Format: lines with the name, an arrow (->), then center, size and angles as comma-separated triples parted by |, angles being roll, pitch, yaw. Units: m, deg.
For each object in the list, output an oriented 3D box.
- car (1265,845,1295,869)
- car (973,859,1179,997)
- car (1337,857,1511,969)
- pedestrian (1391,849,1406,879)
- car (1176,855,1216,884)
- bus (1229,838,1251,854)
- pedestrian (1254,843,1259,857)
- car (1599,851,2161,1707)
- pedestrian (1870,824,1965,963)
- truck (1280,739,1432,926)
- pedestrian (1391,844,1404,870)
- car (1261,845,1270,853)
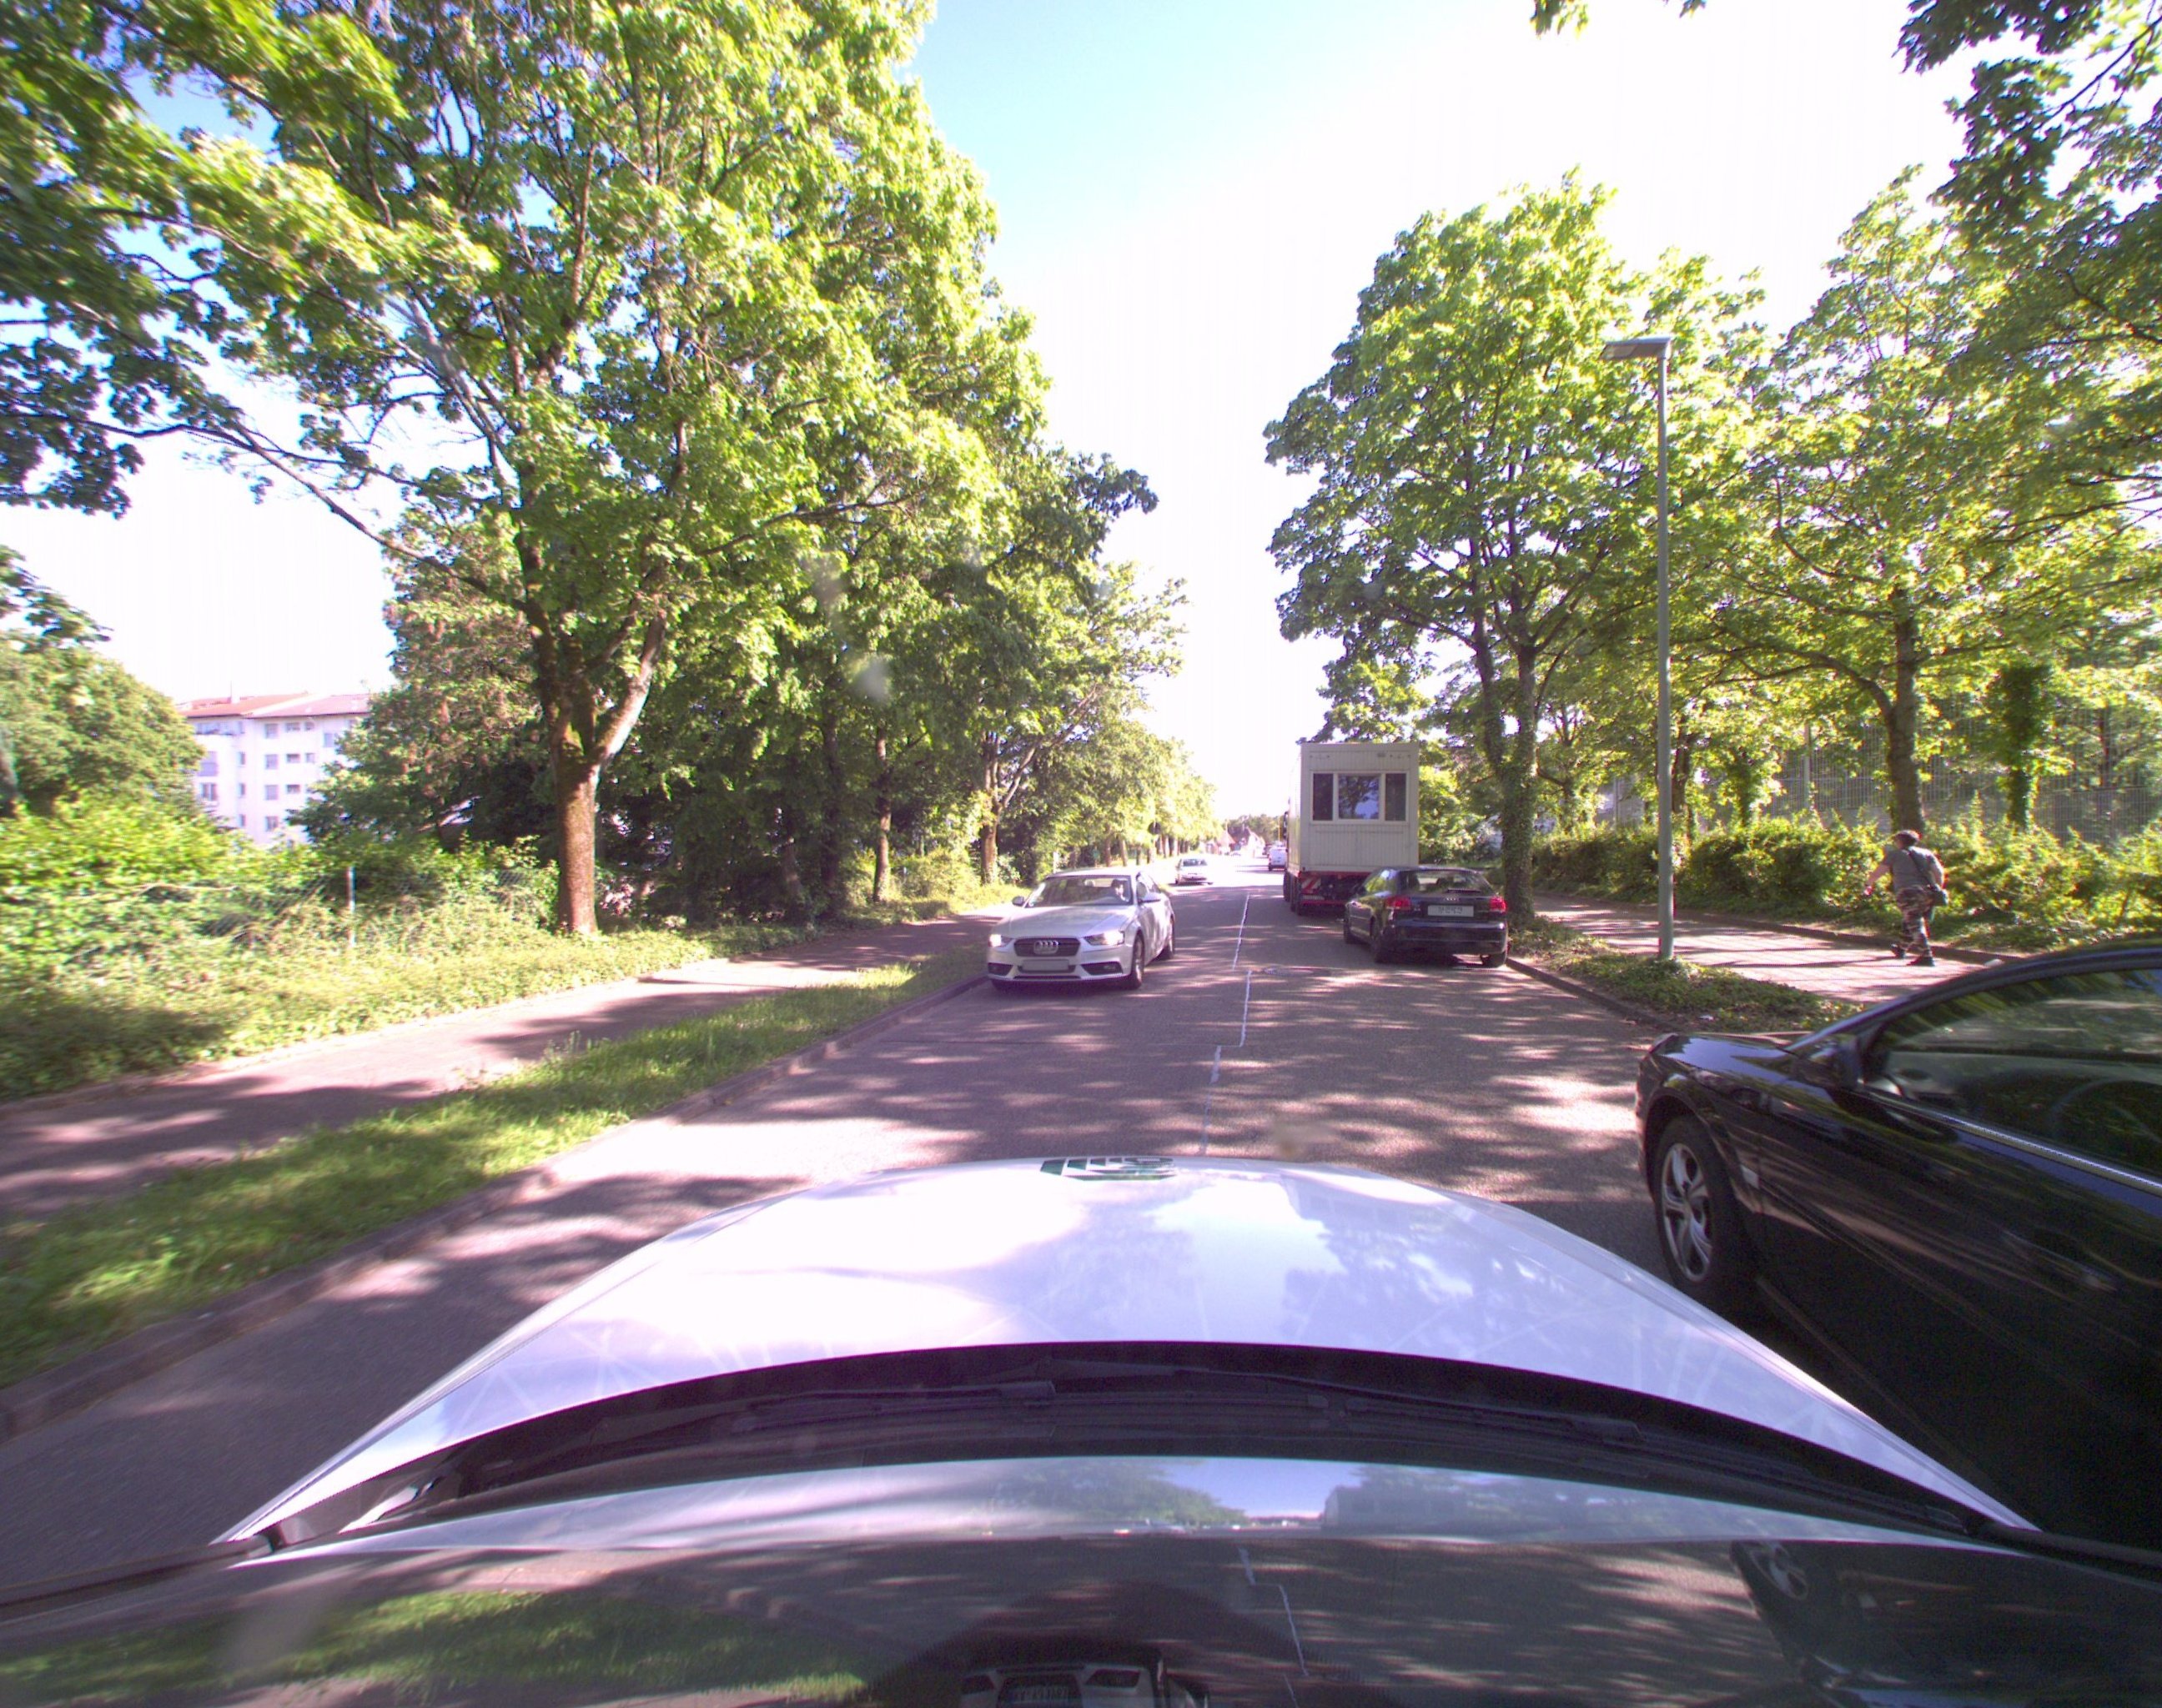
car -> 15.670, 0.230, 64.285 | 1.935, 1.843, 4.010 | -1, 0, 9
car -> 0.164, 0.836, 10.936 | 1.774, 1.416, 4.119 | -2, 0, 13
car -> 5.142, 0.779, 12.750 | 1.630, 1.420, 4.011 | 0, 0, 9
pedestrian -> 19.757, 0.617, 50.729 | 0.694, 1.812, 0.702 | -2, 0, 9
car -> 6.023, 0.776, 43.109 | 1.797, 1.420, 3.964 | -2, 0, 4
bus -> 34.142, -1.709, 174.387 | 4.036, 3.349, 9.839 | -2, 0, 14
pedestrian -> 27.165, -0.593, 125.988 | 0.747, 2.113, 0.802 | 1, 0, 15
car -> 2.476, 0.739, 1.169 | 1.736, 1.480, 4.045 | 0, 0, 14
pedestrian -> 10.062, 0.451, 9.814 | 0.566, 1.608, 0.675 | 0, 0, 21
truck -> 7.195, -0.511, 22.773 | 2.755, 3.995, 10.381 | 1, 0, 12
pedestrian -> 19.670, 0.202, 50.621 | 0.594, 1.611, 0.602 | -2, 0, 9
car -> 41.518, -1.185, 183.625 | 1.769, 1.808, 4.013 | -2, 0, 11
